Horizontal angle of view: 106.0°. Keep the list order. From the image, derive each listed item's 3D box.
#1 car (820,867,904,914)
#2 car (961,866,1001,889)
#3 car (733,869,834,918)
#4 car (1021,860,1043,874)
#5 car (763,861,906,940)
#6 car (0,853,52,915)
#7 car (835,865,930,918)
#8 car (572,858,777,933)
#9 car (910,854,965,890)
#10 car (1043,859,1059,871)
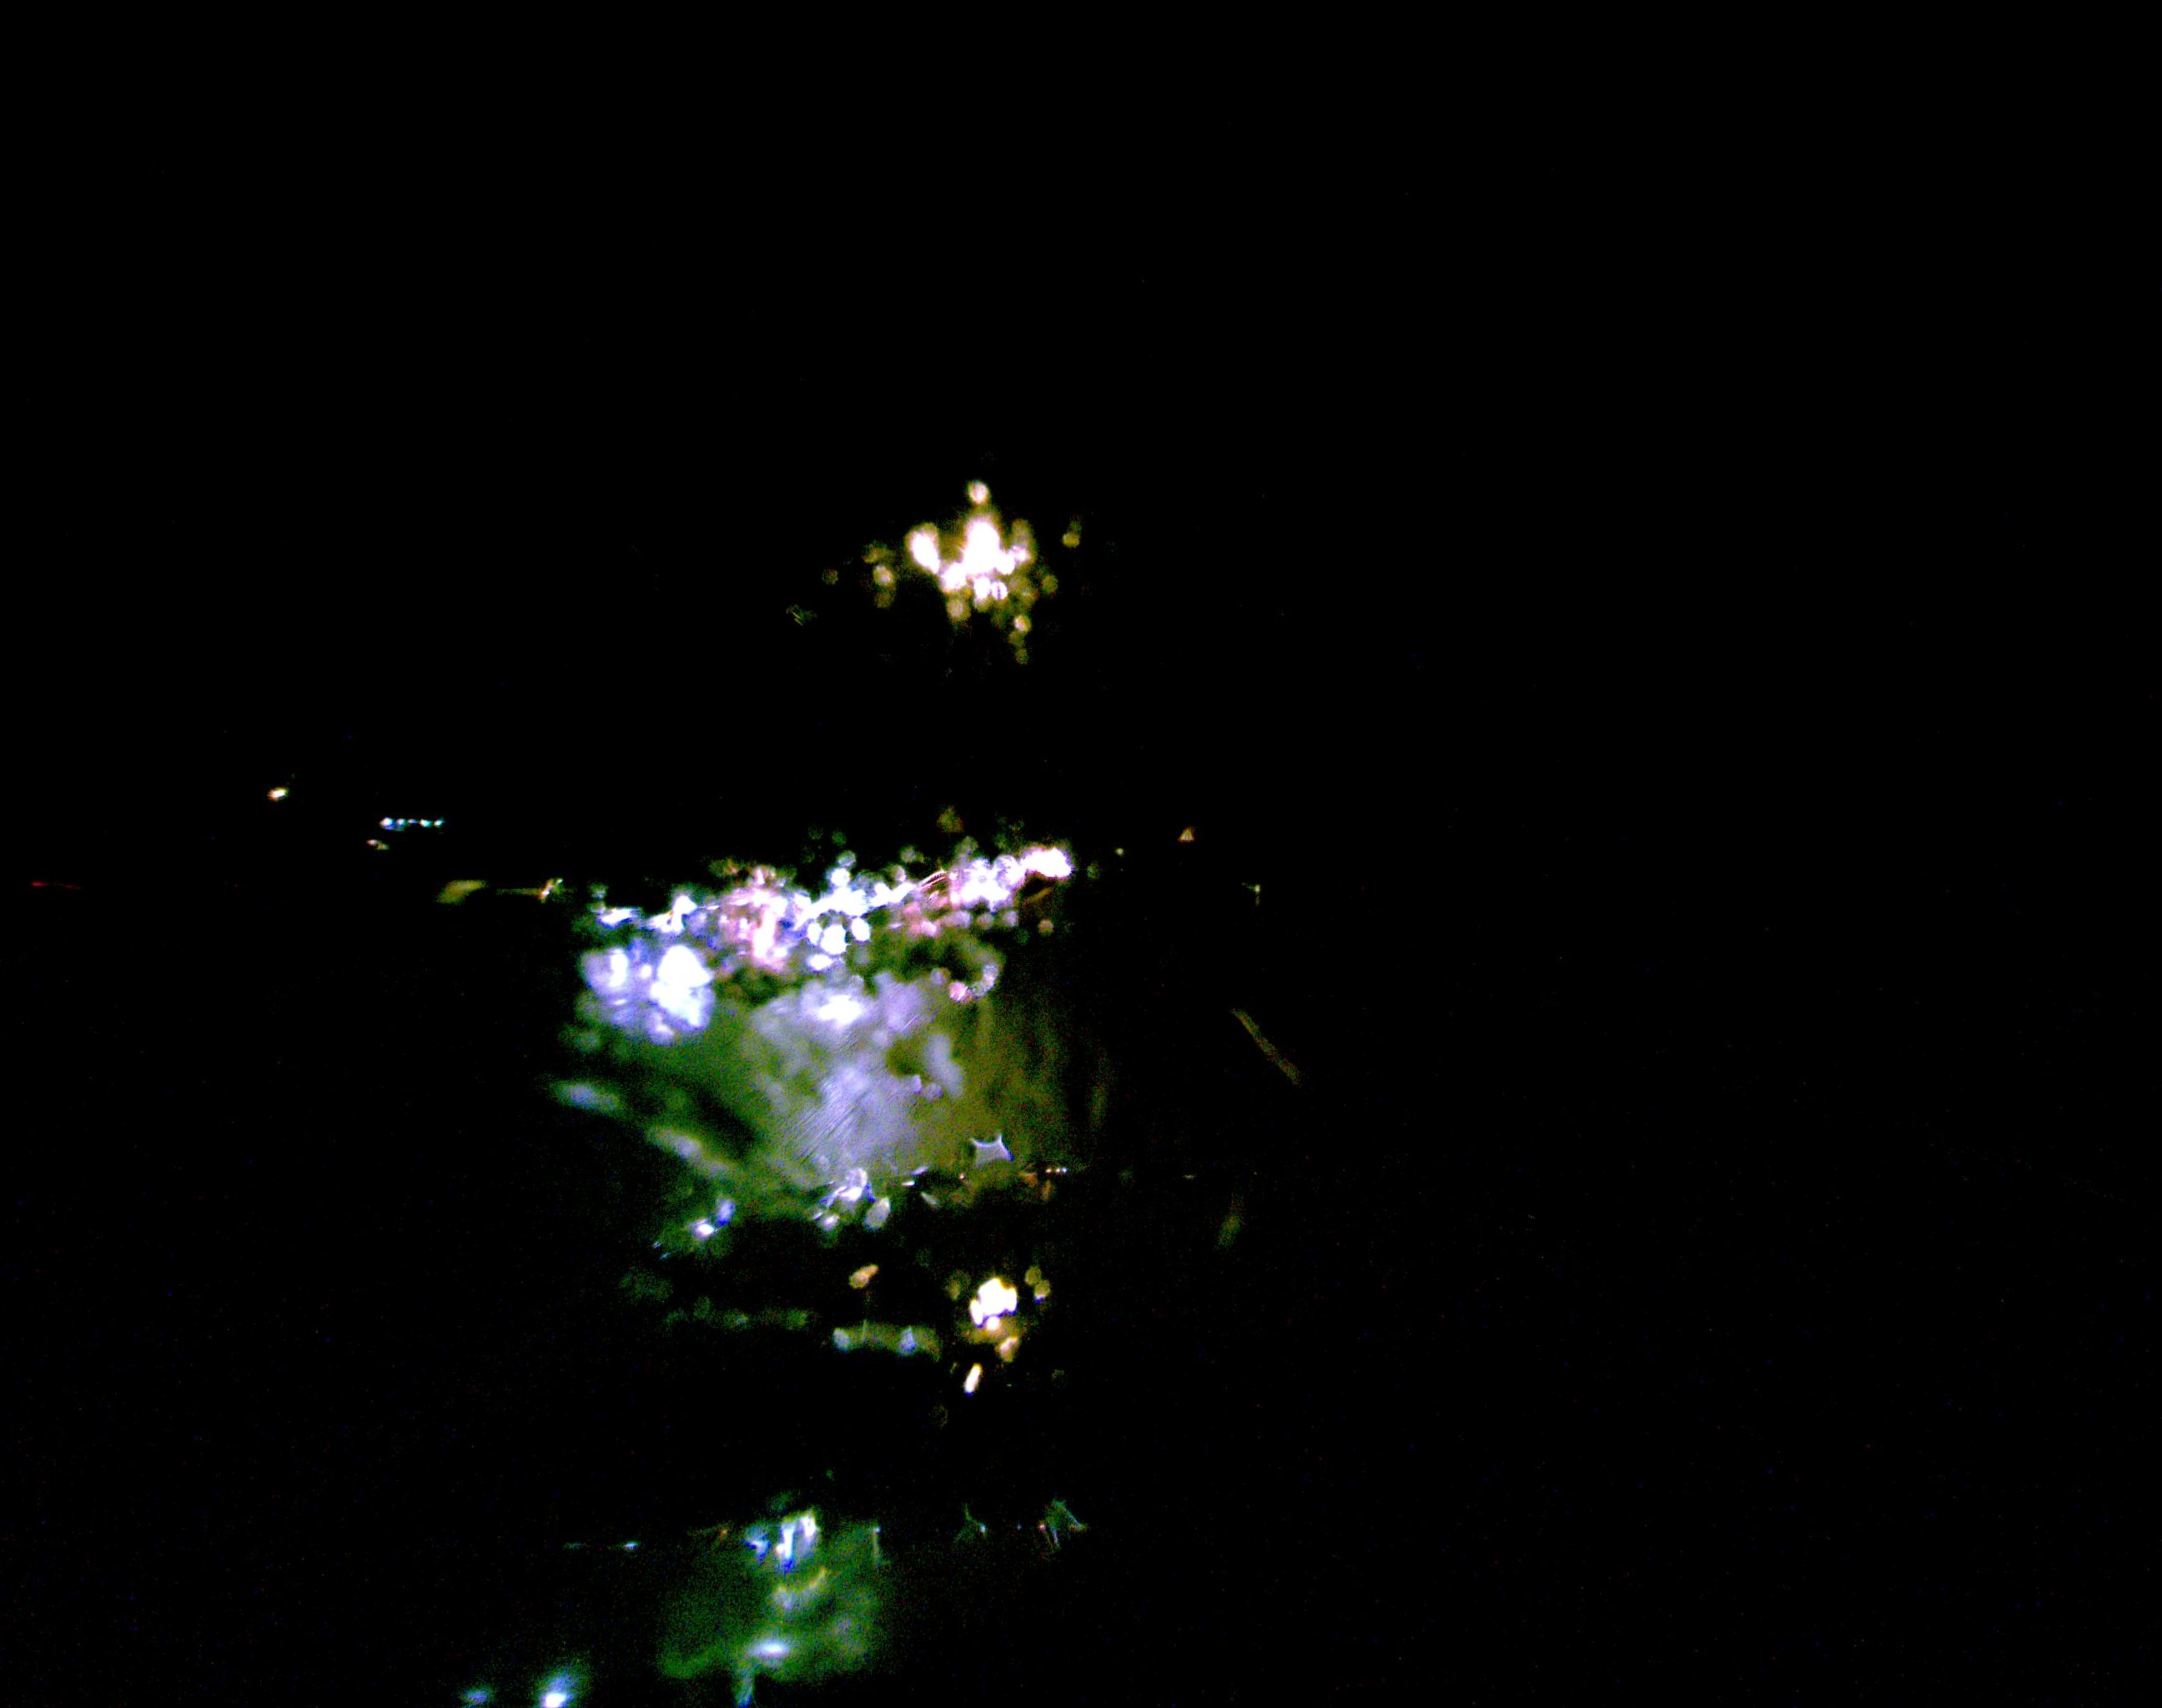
[{"bbox_3d":[-8.882,1.433,33.508,1.985,1.746,4.502,-1,0,3],"label":"car"},{"bbox_3d":[-7.700,1.796,63.201,2.172,1.558,5.209,-1,0,4],"label":"car"},{"bbox_3d":[-9.460,1.219,26.215,1.816,1.453,3.603,0,-1,2],"label":"car"},{"bbox_3d":[-5.907,1.584,99.288,2.074,1.542,4.903,-1,0,4],"label":"car"},{"bbox_3d":[-5.921,1.064,20.277,1.987,1.698,5.012,0,-1,0],"label":"car"},{"bbox_3d":[-41.465,1.125,28.927,1.985,2.307,6.026,-1,0,3],"label":"car"},{"bbox_3d":[-6.313,1.152,26.415,1.950,1.571,4.466,0,-1,0],"label":"car"},{"bbox_3d":[-9.594,0.901,19.876,2.350,1.556,5.159,-1,0,1],"label":"car"},{"bbox_3d":[-8.416,1.043,48.157,2.145,2.014,4.998,-1,0,2],"label":"car"},{"bbox_3d":[-4.593,1.669,126.218,1.985,1.865,5.325,-1,0,4],"label":"car"}]
